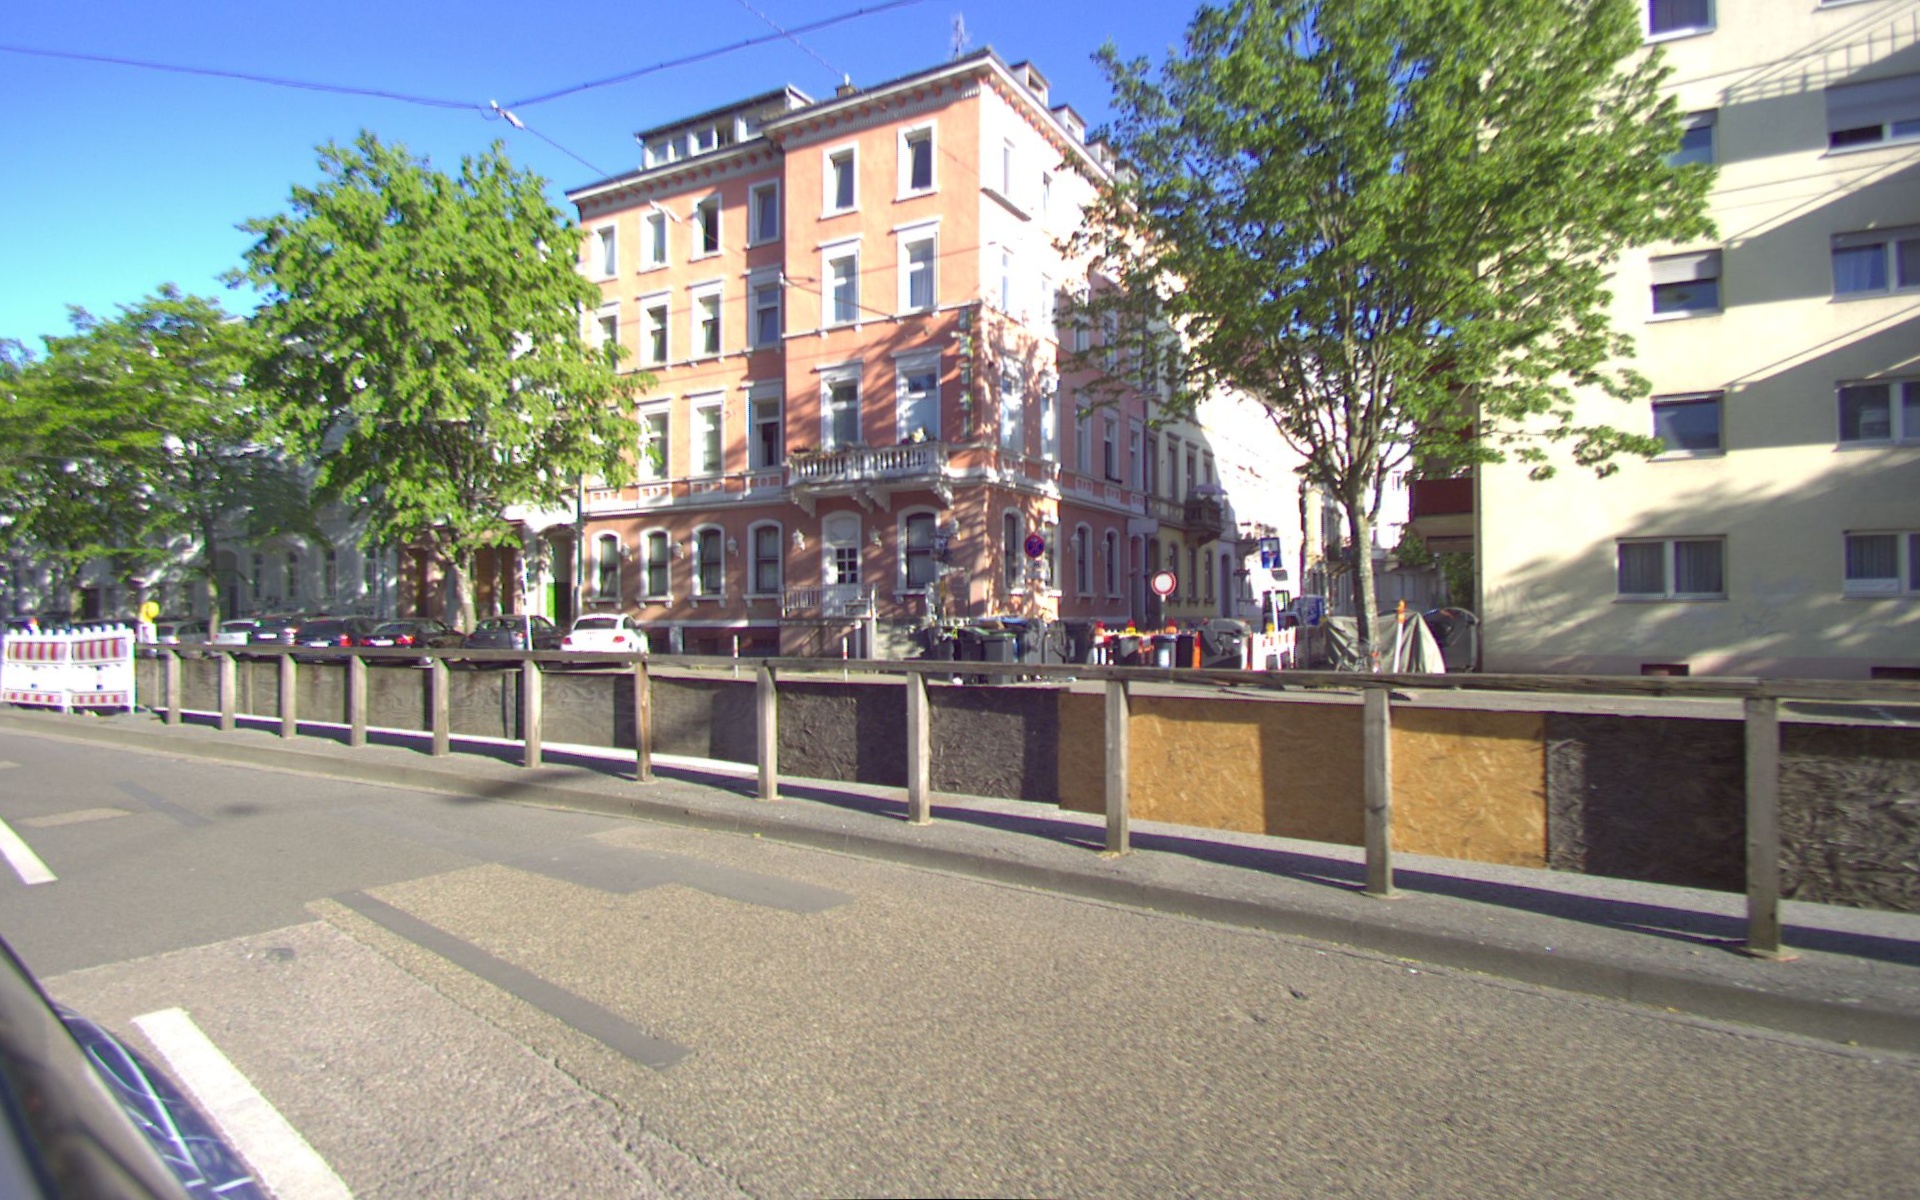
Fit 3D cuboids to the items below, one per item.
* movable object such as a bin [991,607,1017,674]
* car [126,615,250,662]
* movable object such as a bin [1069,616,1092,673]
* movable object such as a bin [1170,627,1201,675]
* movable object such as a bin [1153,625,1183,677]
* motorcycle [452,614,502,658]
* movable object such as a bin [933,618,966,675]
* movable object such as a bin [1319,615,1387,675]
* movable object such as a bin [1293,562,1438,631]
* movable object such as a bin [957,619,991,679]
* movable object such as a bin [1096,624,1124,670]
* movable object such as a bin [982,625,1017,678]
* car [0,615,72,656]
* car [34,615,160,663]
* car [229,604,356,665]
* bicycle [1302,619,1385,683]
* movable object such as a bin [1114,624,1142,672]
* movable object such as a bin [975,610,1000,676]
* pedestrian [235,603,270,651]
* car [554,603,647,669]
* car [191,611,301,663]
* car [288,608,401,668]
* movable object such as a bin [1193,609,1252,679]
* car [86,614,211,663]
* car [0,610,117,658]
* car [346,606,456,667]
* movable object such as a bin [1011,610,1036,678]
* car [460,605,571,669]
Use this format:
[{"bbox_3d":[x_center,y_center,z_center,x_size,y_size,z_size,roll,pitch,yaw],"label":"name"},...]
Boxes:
[{"bbox_3d":[0.961,0.882,22.099,0.385,1.437,0.375,-2,-1,40],"label":"movable object such as a bin"},{"bbox_3d":[-28.598,1.394,37.646,1.745,1.496,3.823,-1,1,-1],"label":"car"},{"bbox_3d":[2.858,1.051,24.045,0.387,1.322,0.376,-1,-1,34],"label":"movable object such as a bin"},{"bbox_3d":[5.127,1.154,23.014,0.551,1.041,0.443,0,0,34],"label":"movable object such as a bin"},{"bbox_3d":[4.599,1.115,22.357,0.551,1.105,0.376,0,0,34],"label":"movable object such as a bin"},{"bbox_3d":[-15.364,1.125,32.194,1.926,1.289,0.672,1,1,39],"label":"motorcycle"},{"bbox_3d":[-0.234,1.014,22.186,0.639,1.212,0.375,-2,-1,40],"label":"movable object such as a bin"},{"bbox_3d":[7.561,0.852,19.491,1.144,1.135,0.422,-1,-1,34],"label":"movable object such as a bin"},{"bbox_3d":[18.663,-0.147,46.585,5.258,2.952,3.902,0,0,40],"label":"movable object such as a bin"},{"bbox_3d":[0.303,1.044,21.782,0.639,1.251,0.375,-2,-1,40],"label":"movable object such as a bin"},{"bbox_3d":[3.672,1.150,24.769,0.551,1.107,0.376,-1,-1,34],"label":"movable object such as a bin"},{"bbox_3d":[0.826,1.079,21.314,0.639,1.076,0.375,-2,-1,40],"label":"movable object such as a bin"},{"bbox_3d":[-42.342,1.607,45.164,1.718,1.649,4.202,-3,2,-1],"label":"car"},{"bbox_3d":[-34.173,1.509,40.202,1.748,1.666,3.872,-1,1,-1],"label":"car"},{"bbox_3d":[-22.670,1.111,34.592,1.682,1.735,4.291,-1,2,-4],"label":"car"},{"bbox_3d":[7.042,0.922,18.606,1.404,1.125,0.261,-1,-1,40],"label":"bicycle"},{"bbox_3d":[3.978,1.138,23.987,0.551,1.105,0.376,-1,-1,34],"label":"movable object such as a bin"},{"bbox_3d":[0.611,0.933,22.299,0.387,1.437,0.375,-2,-1,40],"label":"movable object such as a bin"},{"bbox_3d":[-26.888,1.025,38.467,0.801,1.769,0.761,-1,-1,17],"label":"pedestrian"},{"bbox_3d":[-9.930,0.928,28.245,1.708,1.533,3.924,-2,2,-9],"label":"car"},{"bbox_3d":[-25.543,1.288,36.326,1.682,1.544,3.284,-2,2,-3],"label":"car"},{"bbox_3d":[-19.793,1.167,32.727,1.609,1.629,3.993,-2,1,-7],"label":"car"},{"bbox_3d":[5.646,0.931,21.786,1.144,1.469,0.422,0,0,34],"label":"movable object such as a bin"},{"bbox_3d":[-31.177,1.446,39.039,1.748,1.666,3.871,-1,1,-1],"label":"car"},{"bbox_3d":[-39.398,1.455,44.148,1.760,1.811,4.202,-1,2,-1],"label":"car"},{"bbox_3d":[-17.269,1.070,31.481,1.609,1.629,3.993,-2,1,-7],"label":"car"},{"bbox_3d":[1.372,0.944,21.936,0.387,1.437,0.375,-2,-1,40],"label":"movable object such as a bin"},{"bbox_3d":[-12.850,1.016,29.485,1.664,1.519,3.926,-2,2,-4],"label":"car"}]
